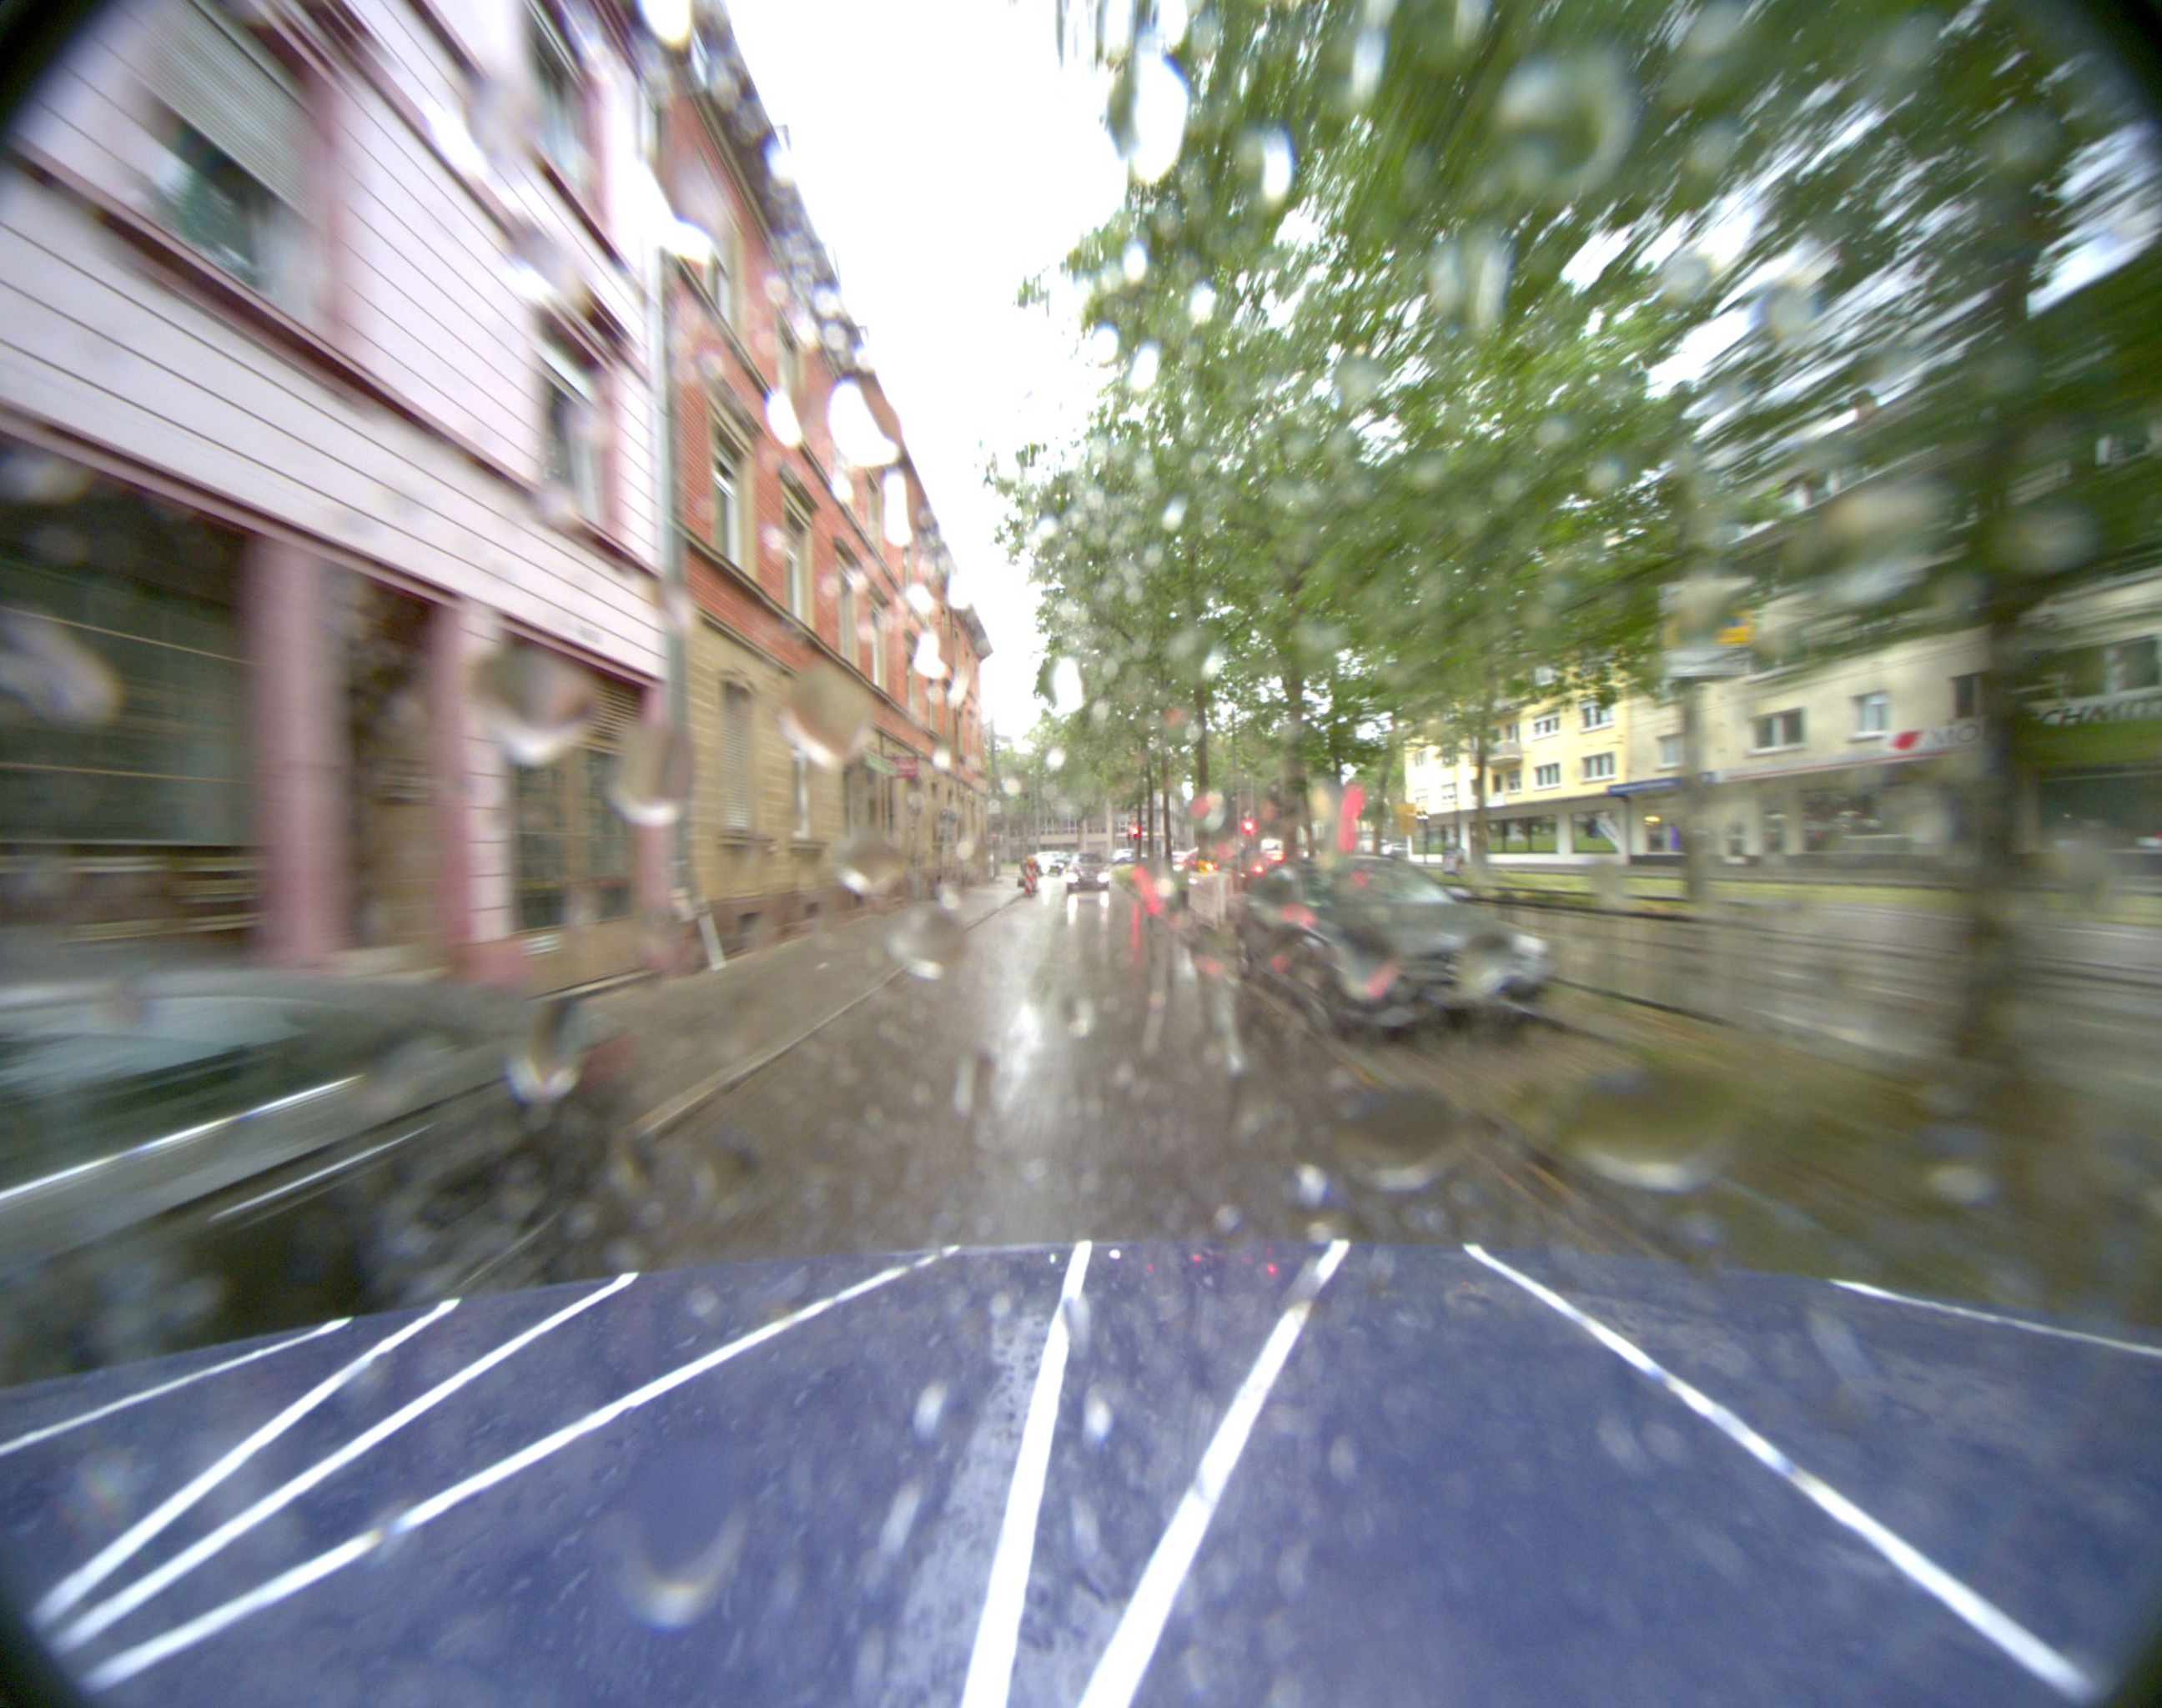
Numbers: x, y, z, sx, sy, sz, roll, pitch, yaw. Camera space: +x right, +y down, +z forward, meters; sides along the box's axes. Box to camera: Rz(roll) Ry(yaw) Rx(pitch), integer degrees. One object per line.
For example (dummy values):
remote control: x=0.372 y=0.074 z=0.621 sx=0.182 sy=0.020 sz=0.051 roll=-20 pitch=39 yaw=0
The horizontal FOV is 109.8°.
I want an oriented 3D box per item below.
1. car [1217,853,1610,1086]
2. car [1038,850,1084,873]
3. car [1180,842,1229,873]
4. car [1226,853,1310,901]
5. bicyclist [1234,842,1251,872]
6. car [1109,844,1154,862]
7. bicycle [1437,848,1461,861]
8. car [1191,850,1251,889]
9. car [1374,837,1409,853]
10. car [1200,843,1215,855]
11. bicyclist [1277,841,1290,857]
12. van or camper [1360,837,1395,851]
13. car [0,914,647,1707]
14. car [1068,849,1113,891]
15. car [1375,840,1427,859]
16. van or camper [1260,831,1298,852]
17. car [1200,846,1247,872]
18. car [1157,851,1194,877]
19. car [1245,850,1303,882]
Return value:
car: x=2.746 y=0.811 z=7.629 sx=1.833 sy=1.495 sz=4.613 roll=-3 pitch=1 yaw=0
car: x=-1.860 y=0.708 z=70.628 sx=4.000 sy=2.002 sz=1.998 roll=-1 pitch=2 yaw=-9
car: x=6.559 y=0.157 z=40.831 sx=1.861 sy=1.476 sz=4.639 roll=-2 pitch=0 yaw=0
car: x=6.126 y=0.718 z=25.387 sx=1.746 sy=1.389 sz=4.233 roll=-2 pitch=0 yaw=0
bicyclist: x=9.423 y=0.173 z=44.413 sx=0.714 sy=1.706 sz=0.889 roll=-2 pitch=2 yaw=-2
car: x=5.317 y=-0.122 z=80.167 sx=4.563 sy=1.650 sz=1.783 roll=-3 pitch=2 yaw=-32
bicycle: x=24.796 y=0.024 z=51.200 sx=0.613 sy=0.891 sz=2.046 roll=-2 pitch=1 yaw=1
car: x=5.967 y=0.617 z=32.818 sx=1.745 sy=1.471 sz=4.431 roll=-2 pitch=0 yaw=1
car: x=43.302 y=-1.269 z=106.012 sx=4.389 sy=2.002 sz=2.069 roll=-1 pitch=2 yaw=17
car: x=19.953 y=-0.834 z=119.417 sx=2.001 sy=1.761 sz=4.003 roll=-1 pitch=1 yaw=13
bicyclist: x=19.080 y=-0.464 z=71.481 sx=0.805 sy=1.462 sz=0.927 roll=-4 pitch=3 yaw=-9
van or camper: x=44.508 y=-1.547 z=114.088 sx=4.647 sy=2.063 sz=2.001 roll=-1 pitch=1 yaw=10
car: x=-2.756 y=0.989 z=0.698 sx=1.818 sy=1.412 sz=4.697 roll=1 pitch=1 yaw=3
car: x=0.420 y=0.683 z=35.281 sx=1.913 sy=1.637 sz=4.679 roll=-2 pitch=2 yaw=0
car: x=31.598 y=-0.442 z=75.169 sx=4.265 sy=1.732 sz=1.975 roll=-2 pitch=2 yaw=-5
van or camper: x=25.111 y=-1.652 z=96.099 sx=2.176 sy=2.457 sz=5.982 roll=-1 pitch=2 yaw=41
car: x=9.037 y=0.292 z=48.576 sx=1.879 sy=1.493 sz=4.282 roll=-2 pitch=0 yaw=-4
car: x=5.858 y=0.571 z=47.336 sx=1.739 sy=1.480 sz=4.500 roll=-2 pitch=0 yaw=1
car: x=9.278 y=0.534 z=36.839 sx=1.745 sy=1.389 sz=4.130 roll=-2 pitch=0 yaw=1
